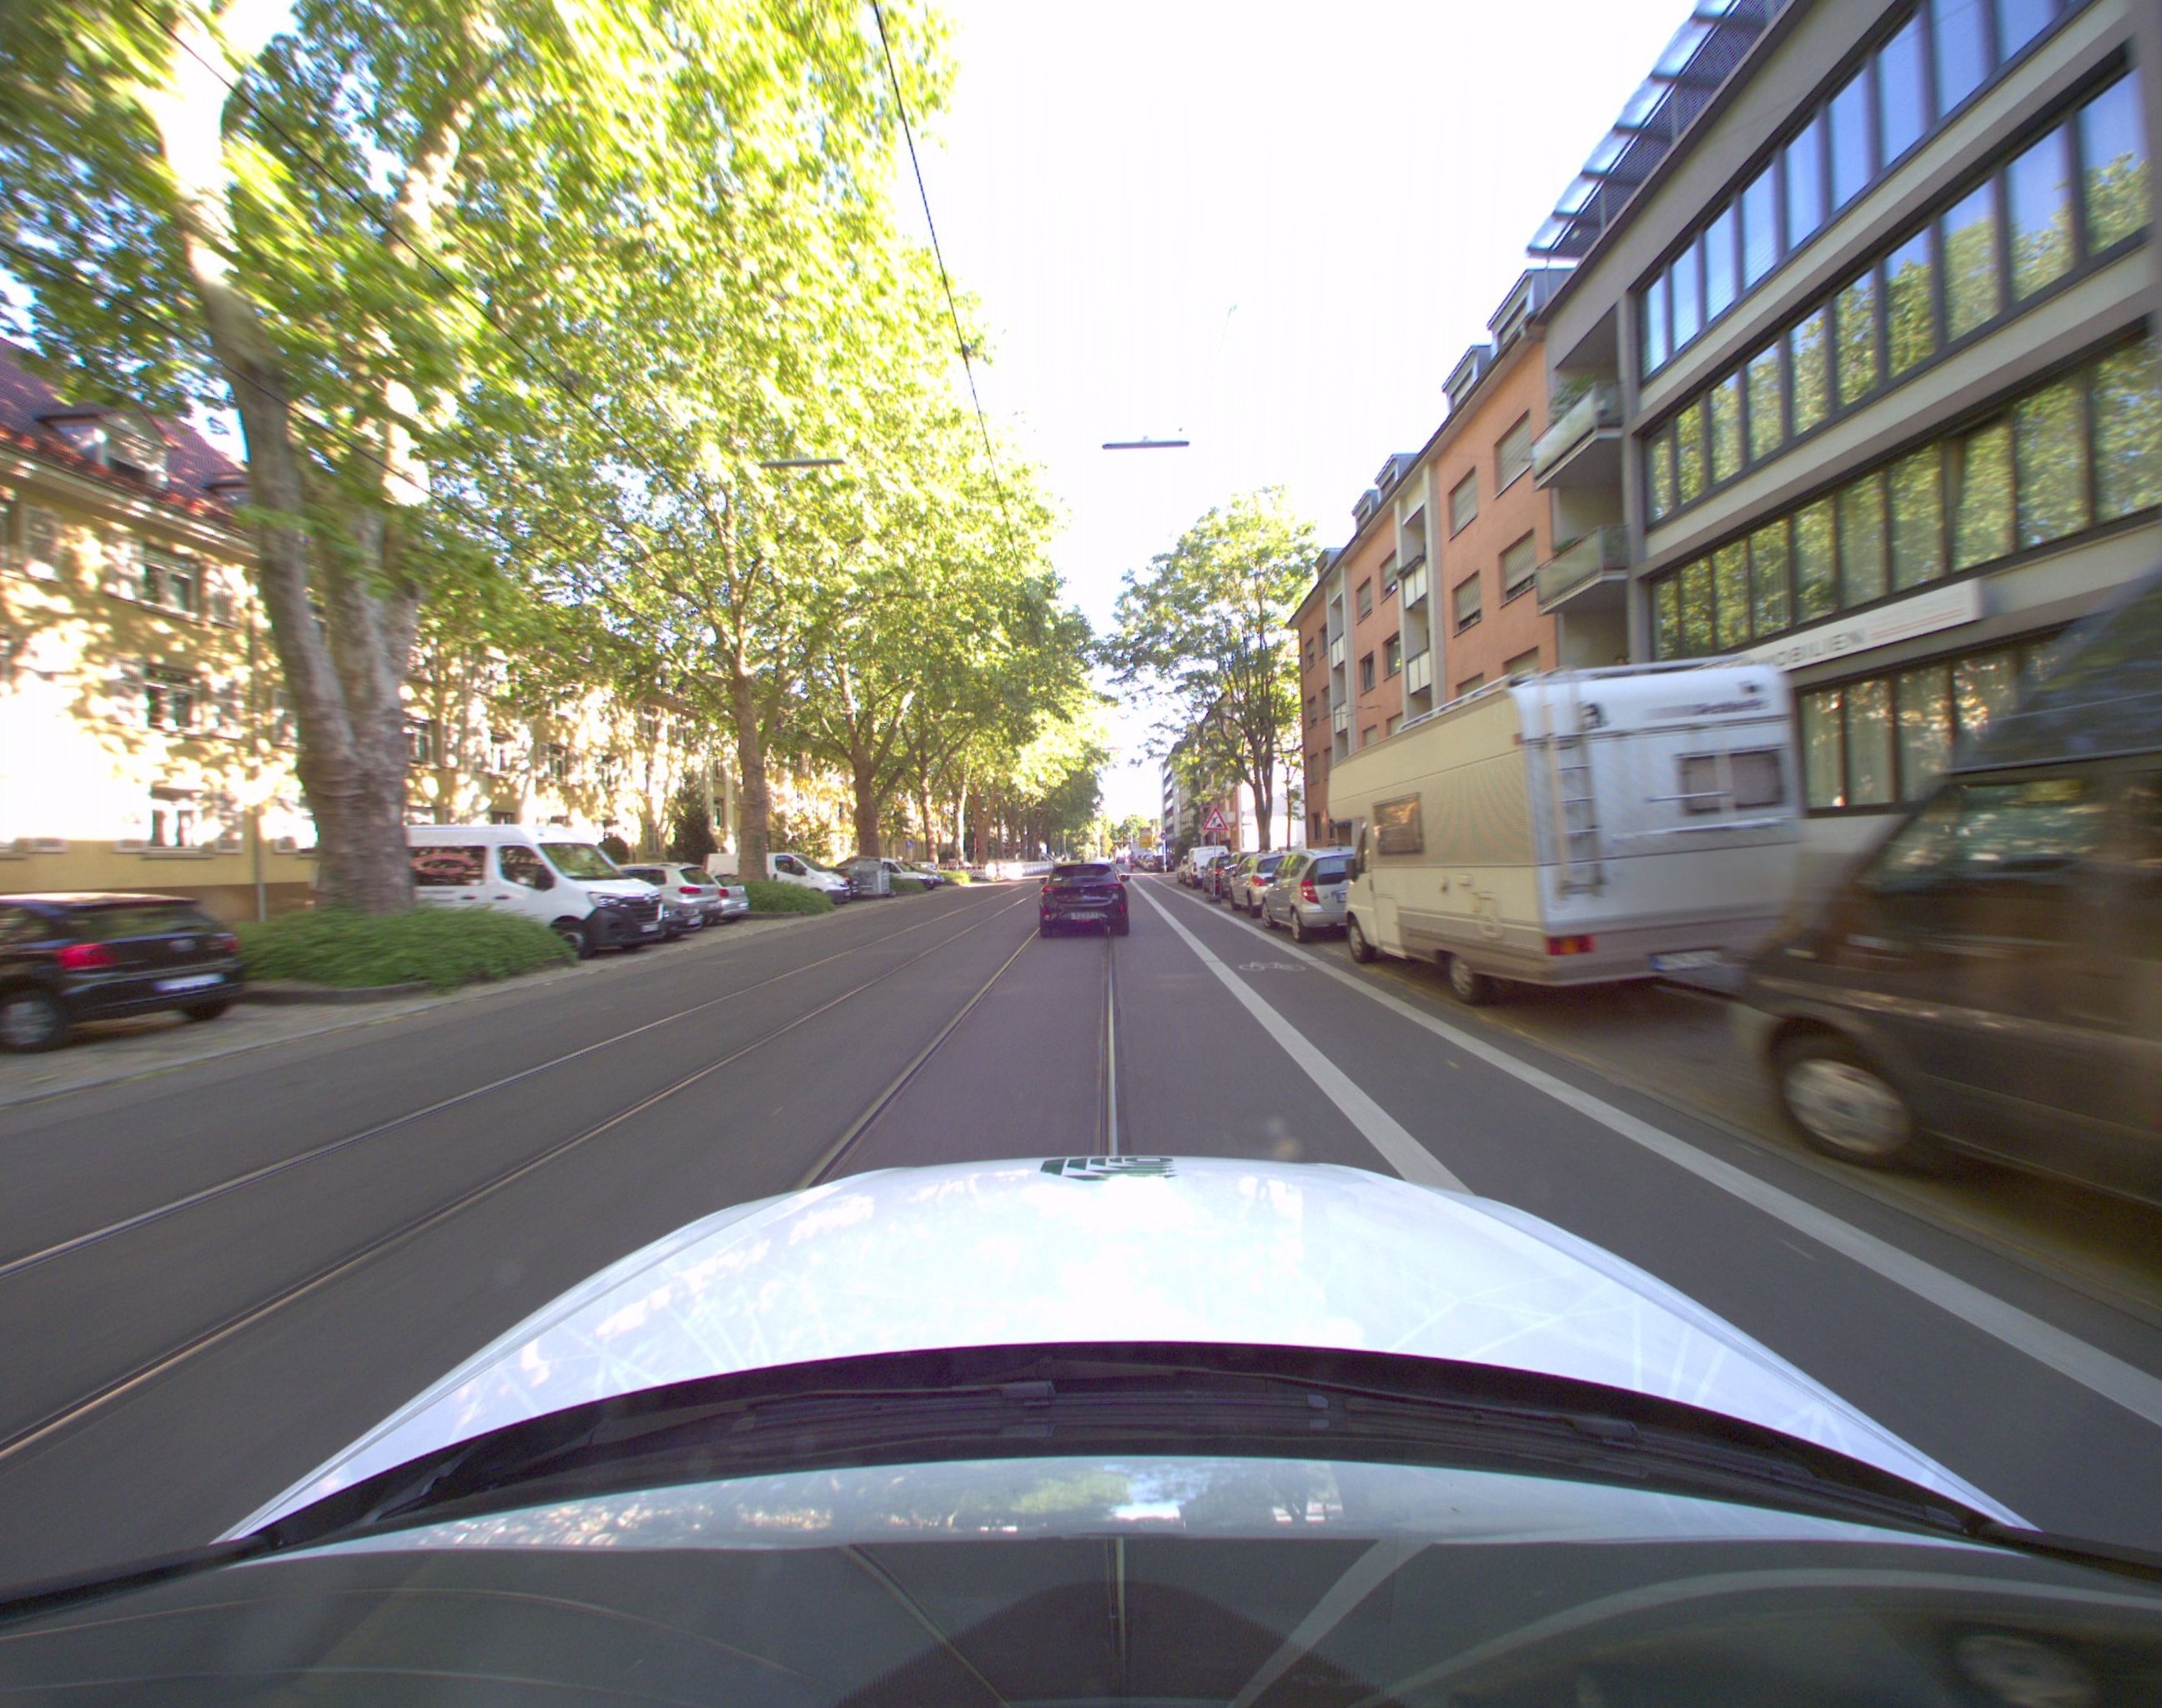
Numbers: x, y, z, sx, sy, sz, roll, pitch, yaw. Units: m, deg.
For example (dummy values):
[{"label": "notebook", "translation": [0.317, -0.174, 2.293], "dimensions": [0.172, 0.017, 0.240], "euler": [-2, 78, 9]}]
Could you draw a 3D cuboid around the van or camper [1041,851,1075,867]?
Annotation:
[{"label": "van or camper", "translation": [-3.891, 0.817, 138.658], "dimensions": [5.701, 2.644, 2.270], "euler": [-1, -1, 2]}]

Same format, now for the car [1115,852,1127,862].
[{"label": "car", "translation": [7.453, 0.624, 153.052], "dimensions": [1.986, 1.695, 4.741], "euler": [-4, 0, 1]}]

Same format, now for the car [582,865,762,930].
[{"label": "car", "translation": [-10.902, 1.145, 21.906], "dimensions": [3.832, 1.498, 1.863], "euler": [-2, 0, 2]}]

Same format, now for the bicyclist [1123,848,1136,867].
[{"label": "bicyclist", "translation": [4.286, 0.343, 71.910], "dimensions": [1.085, 1.647, 1.401], "euler": [-1, 0, 2]}]

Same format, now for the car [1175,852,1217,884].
[{"label": "car", "translation": [5.839, 0.679, 41.735], "dimensions": [1.699, 1.473, 4.002], "euler": [-2, 0, 2]}]

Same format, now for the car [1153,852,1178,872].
[{"label": "car", "translation": [6.868, 0.608, 66.501], "dimensions": [1.727, 1.462, 3.917], "euler": [-4, 0, 1]}]

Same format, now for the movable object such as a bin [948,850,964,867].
[{"label": "movable object such as a bin", "translation": [-13.739, 0.504, 89.445], "dimensions": [1.328, 1.869, 2.008], "euler": [-1, -1, 2]}]

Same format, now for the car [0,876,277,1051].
[{"label": "car", "translation": [-10.918, 1.073, 8.438], "dimensions": [3.665, 1.565, 1.615], "euler": [-1, 0, 4]}]

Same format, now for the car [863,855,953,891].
[{"label": "car", "translation": [-9.230, 1.003, 43.624], "dimensions": [4.210, 1.688, 1.938], "euler": [-2, 0, 8]}]

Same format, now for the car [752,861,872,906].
[{"label": "car", "translation": [-10.184, 1.110, 30.996], "dimensions": [3.832, 1.498, 1.863], "euler": [-2, 0, 2]}]

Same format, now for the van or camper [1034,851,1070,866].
[{"label": "van or camper", "translation": [-4.570, 0.727, 129.017], "dimensions": [5.475, 2.379, 2.273], "euler": [-1, -1, 5]}]

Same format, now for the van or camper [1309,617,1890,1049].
[{"label": "van or camper", "translation": [4.737, -0.154, 9.204], "dimensions": [2.454, 3.064, 6.268], "euler": [-4, 0, 0]}]

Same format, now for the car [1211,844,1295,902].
[{"label": "car", "translation": [5.357, 0.568, 25.859], "dimensions": [1.761, 1.572, 4.338], "euler": [-4, 0, 1]}]

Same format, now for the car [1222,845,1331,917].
[{"label": "car", "translation": [4.866, 0.625, 20.872], "dimensions": [1.781, 1.522, 4.323], "euler": [-4, 0, 1]}]

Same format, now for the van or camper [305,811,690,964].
[{"label": "van or camper", "translation": [-10.583, 0.579, 15.153], "dimensions": [5.368, 2.516, 2.446], "euler": [-1, 0, 2]}]

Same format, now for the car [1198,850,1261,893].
[{"label": "car", "translation": [5.564, 0.622, 30.937], "dimensions": [1.699, 1.473, 4.169], "euler": [-2, 0, 2]}]

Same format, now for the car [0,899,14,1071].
[{"label": "car", "translation": [-10.924, 1.157, 6.033], "dimensions": [3.524, 1.459, 1.693], "euler": [-1, 0, -5]}]

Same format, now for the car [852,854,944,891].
[{"label": "car", "translation": [-9.269, 0.921, 41.346], "dimensions": [4.181, 1.757, 1.741], "euler": [-1, 0, 2]}]

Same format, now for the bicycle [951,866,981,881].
[{"label": "bicycle", "translation": [-8.073, 1.355, 57.345], "dimensions": [1.964, 0.963, 0.726], "euler": [-2, 0, 2]}]

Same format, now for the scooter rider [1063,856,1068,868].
[{"label": "scooter rider", "translation": [-2.412, 1.223, 125.674], "dimensions": [0.647, 1.957, 0.624], "euler": [-1, -1, 2]}]

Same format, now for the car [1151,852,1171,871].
[{"label": "car", "translation": [6.904, 0.683, 70.351], "dimensions": [1.520, 1.590, 3.754], "euler": [-1, -1, 2]}]

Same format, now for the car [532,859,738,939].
[{"label": "car", "translation": [-10.598, 1.031, 19.559], "dimensions": [3.832, 1.663, 1.863], "euler": [-2, 0, 2]}]

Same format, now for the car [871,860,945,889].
[{"label": "car", "translation": [-10.132, 1.174, 47.827], "dimensions": [3.832, 1.498, 1.863], "euler": [-2, 0, 2]}]

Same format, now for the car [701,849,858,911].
[{"label": "car", "translation": [-10.344, 0.865, 28.175], "dimensions": [4.644, 1.945, 1.960], "euler": [-1, 0, -2]}]

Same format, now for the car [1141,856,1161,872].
[{"label": "car", "translation": [6.909, 0.940, 80.734], "dimensions": [1.653, 1.399, 4.741], "euler": [-4, 0, 2]}]

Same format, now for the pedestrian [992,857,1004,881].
[{"label": "pedestrian", "translation": [-5.974, 1.090, 58.686], "dimensions": [0.714, 1.669, 0.779], "euler": [-1, -1, 2]}]

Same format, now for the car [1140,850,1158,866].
[{"label": "car", "translation": [7.121, 0.424, 85.890], "dimensions": [1.653, 1.580, 3.591], "euler": [-3, 0, 2]}]

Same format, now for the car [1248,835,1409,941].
[{"label": "car", "translation": [4.507, 0.555, 15.519], "dimensions": [1.786, 1.628, 4.278], "euler": [-4, 0, 1]}]

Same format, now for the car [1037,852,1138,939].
[{"label": "car", "translation": [0.171, 0.733, 16.430], "dimensions": [1.775, 1.496, 4.001], "euler": [-1, 0, 1]}]

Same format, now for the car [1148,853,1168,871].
[{"label": "car", "translation": [7.083, 0.743, 75.169], "dimensions": [1.585, 1.526, 3.837], "euler": [-4, -1, 2]}]

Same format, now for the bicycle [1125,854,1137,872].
[{"label": "bicycle", "translation": [4.397, 0.763, 71.921], "dimensions": [0.912, 1.561, 3.407], "euler": [-1, 0, 3]}]

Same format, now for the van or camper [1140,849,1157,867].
[{"label": "van or camper", "translation": [7.482, 0.449, 90.472], "dimensions": [1.662, 1.883, 4.213], "euler": [-3, 0, 2]}]

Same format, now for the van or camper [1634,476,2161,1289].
[{"label": "van or camper", "translation": [4.590, 0.056, 2.669], "dimensions": [2.124, 2.663, 4.981], "euler": [-4, 0, 1]}]

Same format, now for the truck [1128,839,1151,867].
[{"label": "truck", "translation": [7.683, -0.108, 108.030], "dimensions": [2.528, 3.338, 7.199], "euler": [-4, -1, 2]}]

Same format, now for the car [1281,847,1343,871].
[{"label": "car", "translation": [16.286, 0.321, 57.557], "dimensions": [3.900, 1.482, 1.562], "euler": [-2, 2, 0]}]

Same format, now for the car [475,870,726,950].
[{"label": "car", "translation": [-10.077, 1.148, 17.295], "dimensions": [4.248, 1.398, 1.754], "euler": [-2, 0, 2]}]

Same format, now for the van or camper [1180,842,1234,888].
[{"label": "van or camper", "translation": [5.605, 0.476, 36.684], "dimensions": [1.748, 1.864, 4.832], "euler": [-2, 0, 2]}]
